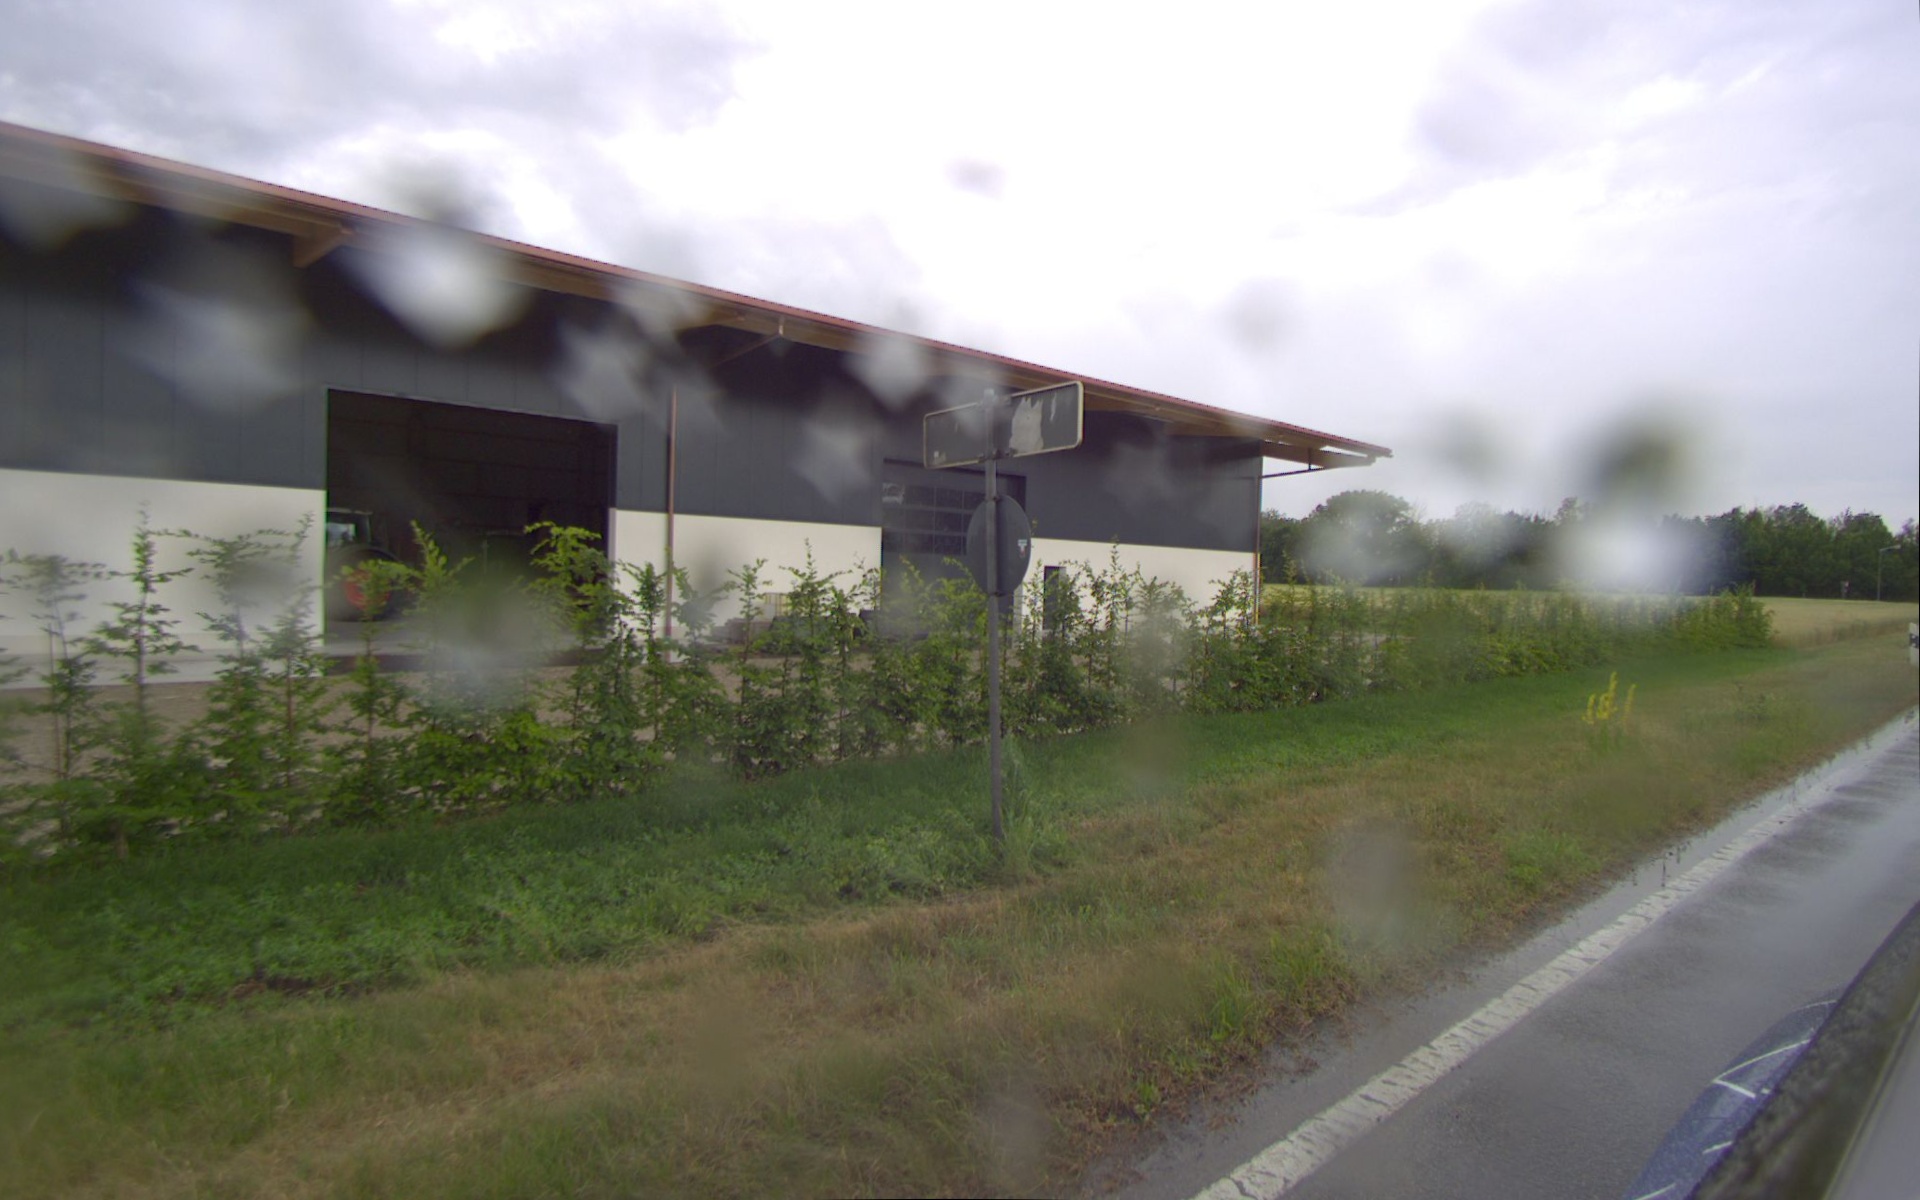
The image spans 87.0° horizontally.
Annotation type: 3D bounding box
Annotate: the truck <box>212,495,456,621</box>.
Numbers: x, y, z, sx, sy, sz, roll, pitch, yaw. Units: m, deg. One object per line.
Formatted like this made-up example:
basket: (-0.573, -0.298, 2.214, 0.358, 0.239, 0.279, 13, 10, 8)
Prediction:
truck: (-16.767, -1.082, 27.270, 5.251, 3.050, 2.495, 0, 2, -41)
